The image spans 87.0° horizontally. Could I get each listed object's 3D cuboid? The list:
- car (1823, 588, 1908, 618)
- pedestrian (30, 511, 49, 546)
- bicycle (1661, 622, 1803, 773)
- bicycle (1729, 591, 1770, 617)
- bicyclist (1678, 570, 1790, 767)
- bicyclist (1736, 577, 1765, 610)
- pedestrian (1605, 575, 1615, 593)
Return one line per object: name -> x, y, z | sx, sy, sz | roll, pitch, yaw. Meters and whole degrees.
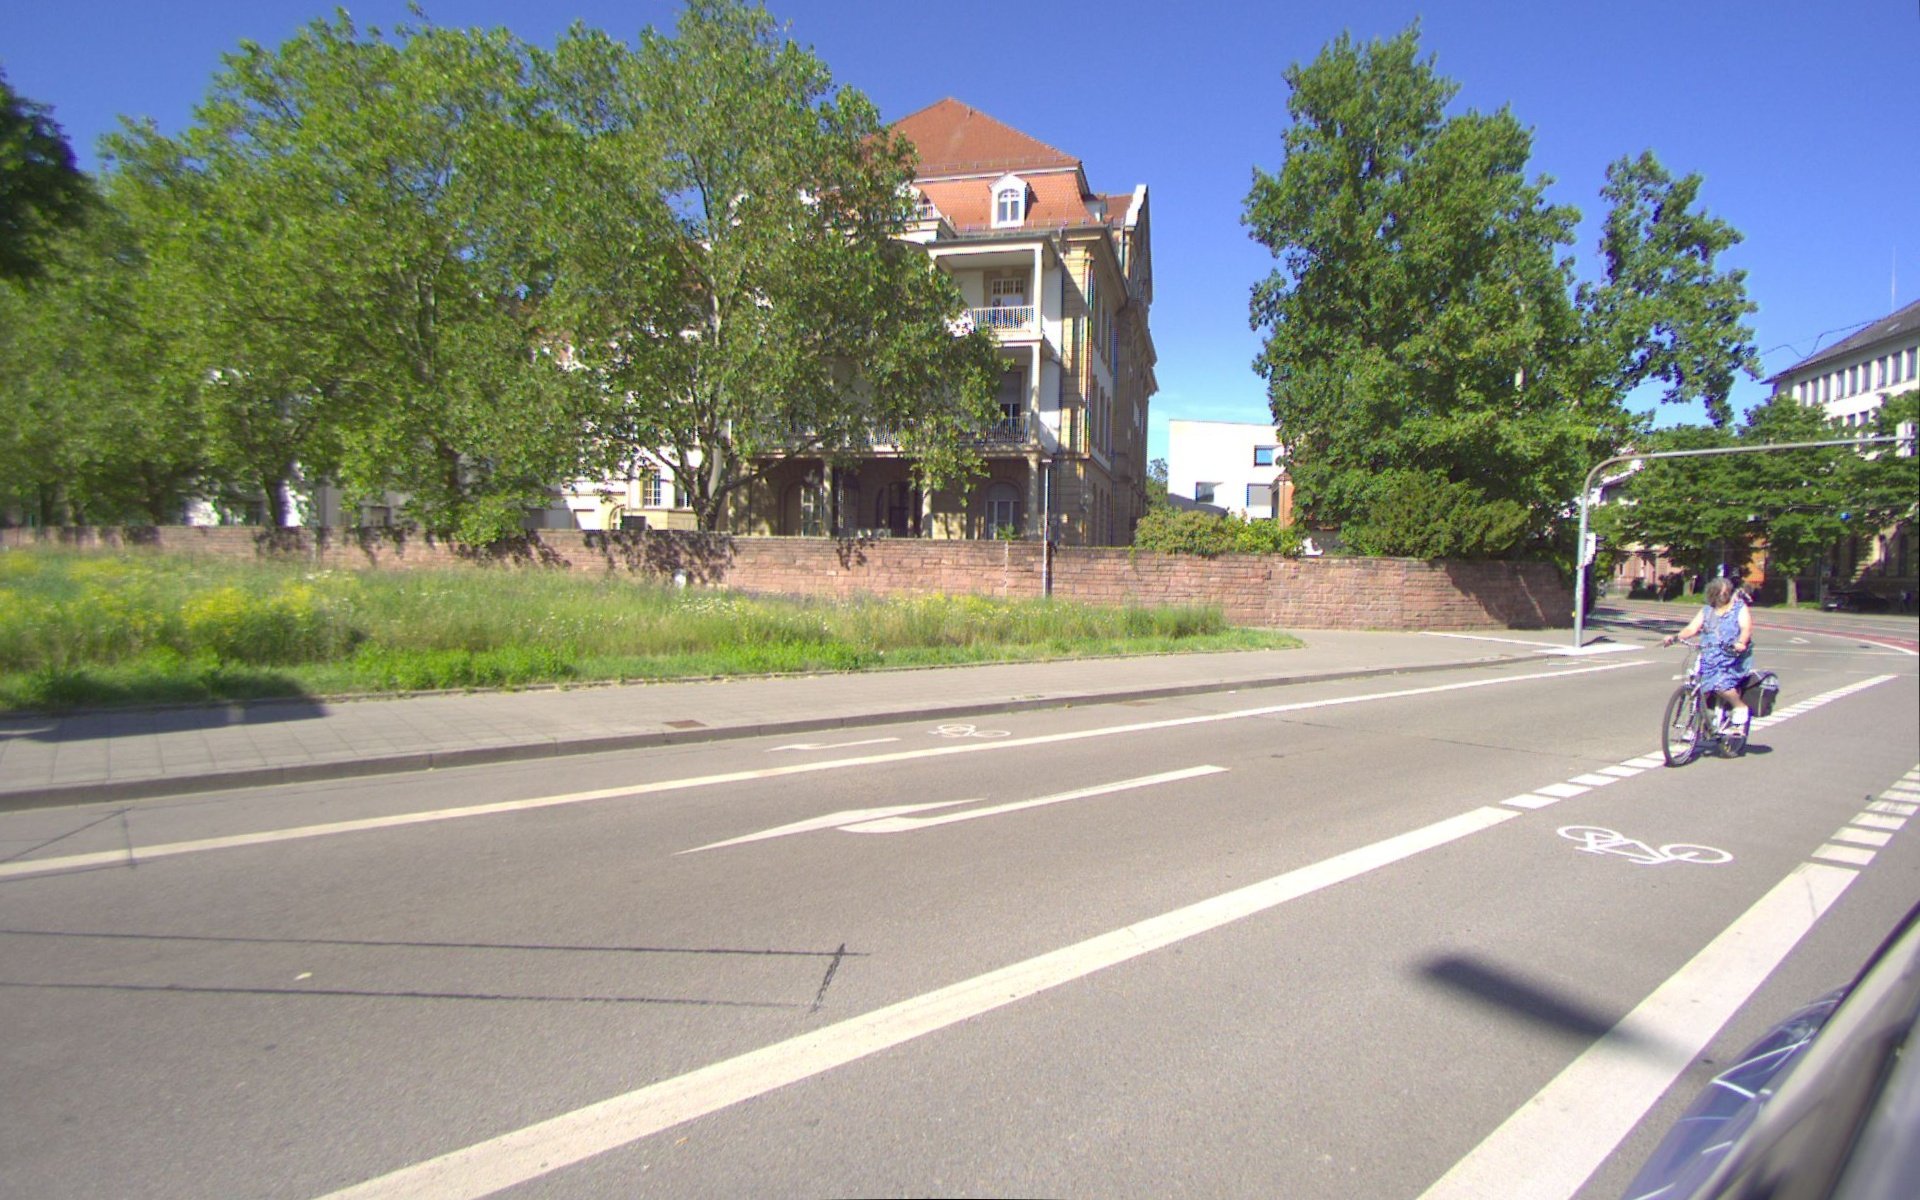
car -> 60.921, 0.188, 68.149 | 3.731, 1.838, 1.999 | 1, 2, 3
pedestrian -> -44.804, -3.482, 49.263 | 0.642, 1.631, 0.557 | 0, 0, -42
bicycle -> 7.066, 0.821, 9.226 | 1.933, 1.179, 0.642 | 0, 1, -41
bicycle -> 38.325, 0.191, 49.153 | 0.767, 1.179, 1.961 | 1, 1, 11
bicyclist -> 7.020, 0.575, 9.179 | 0.763, 1.683, 0.642 | -1, 2, -40
bicyclist -> 38.309, -0.317, 49.068 | 0.767, 1.571, 0.916 | 1, 1, 12
pedestrian -> 57.521, -1.405, 89.549 | 0.629, 1.631, 0.839 | 0, 0, 24
